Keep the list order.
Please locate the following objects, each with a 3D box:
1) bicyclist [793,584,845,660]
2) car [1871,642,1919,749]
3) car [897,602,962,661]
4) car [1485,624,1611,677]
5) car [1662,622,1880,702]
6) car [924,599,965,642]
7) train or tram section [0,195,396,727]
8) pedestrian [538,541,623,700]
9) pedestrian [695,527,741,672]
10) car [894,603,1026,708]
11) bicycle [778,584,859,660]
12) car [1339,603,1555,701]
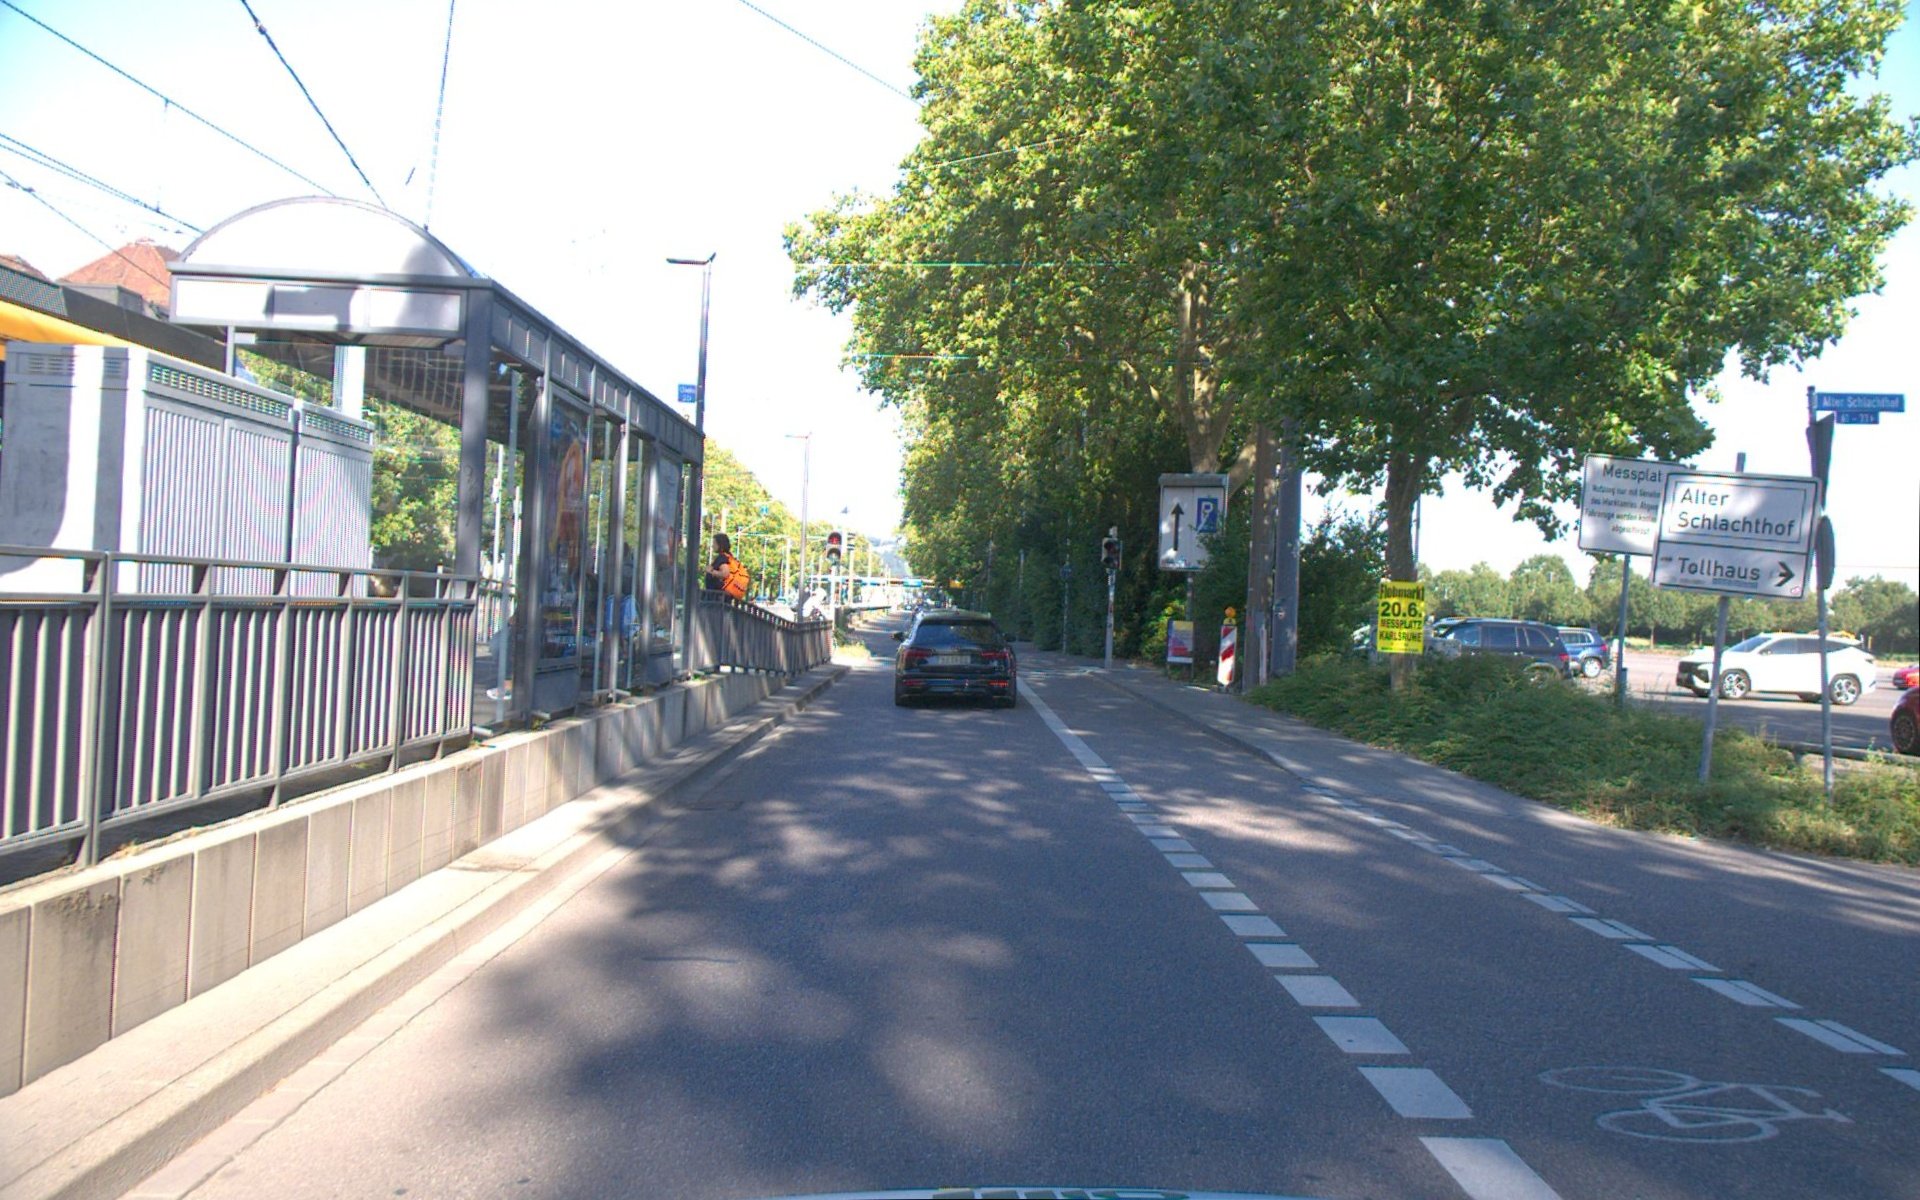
[{"bbox_3d":[-3.347,0.530,39.294,0.758,1.746,0.903,2,-1,45],"label":"bicyclist"},{"bbox_3d":[14.814,1.444,23.460,1.582,1.542,3.802,3,0,-1],"label":"car"},{"bbox_3d":[-0.957,0.916,50.177,1.728,1.647,3.997,3,0,-3],"label":"car"},{"bbox_3d":[20.421,1.746,57.550,3.735,1.637,1.670,3,0,-1],"label":"car"},{"bbox_3d":[19.890,1.509,40.721,4.366,1.687,1.918,3,0,3],"label":"car"},{"bbox_3d":[-0.792,1.030,84.250,1.953,2.049,3.999,3,0,-1],"label":"car"},{"bbox_3d":[-8.756,-1.073,15.116,3.242,3.896,11.839,3,0,-1],"label":"train or tram section"},{"bbox_3d":[-3.262,0.174,14.242,0.555,1.315,0.500,3,-1,-2],"label":"pedestrian"},{"bbox_3d":[-2.990,-0.010,20.480,0.403,1.746,0.665,3,0,-1],"label":"pedestrian"},{"bbox_3d":[-0.064,0.818,25.774,1.841,1.482,3.354,1,0,-4],"label":"car"},{"bbox_3d":[-3.351,0.538,39.344,0.581,1.746,1.959,2,-1,44],"label":"bicycle"},{"bbox_3d":[10.097,1.059,34.459,3.906,1.795,1.833,3,-1,-1],"label":"car"}]
